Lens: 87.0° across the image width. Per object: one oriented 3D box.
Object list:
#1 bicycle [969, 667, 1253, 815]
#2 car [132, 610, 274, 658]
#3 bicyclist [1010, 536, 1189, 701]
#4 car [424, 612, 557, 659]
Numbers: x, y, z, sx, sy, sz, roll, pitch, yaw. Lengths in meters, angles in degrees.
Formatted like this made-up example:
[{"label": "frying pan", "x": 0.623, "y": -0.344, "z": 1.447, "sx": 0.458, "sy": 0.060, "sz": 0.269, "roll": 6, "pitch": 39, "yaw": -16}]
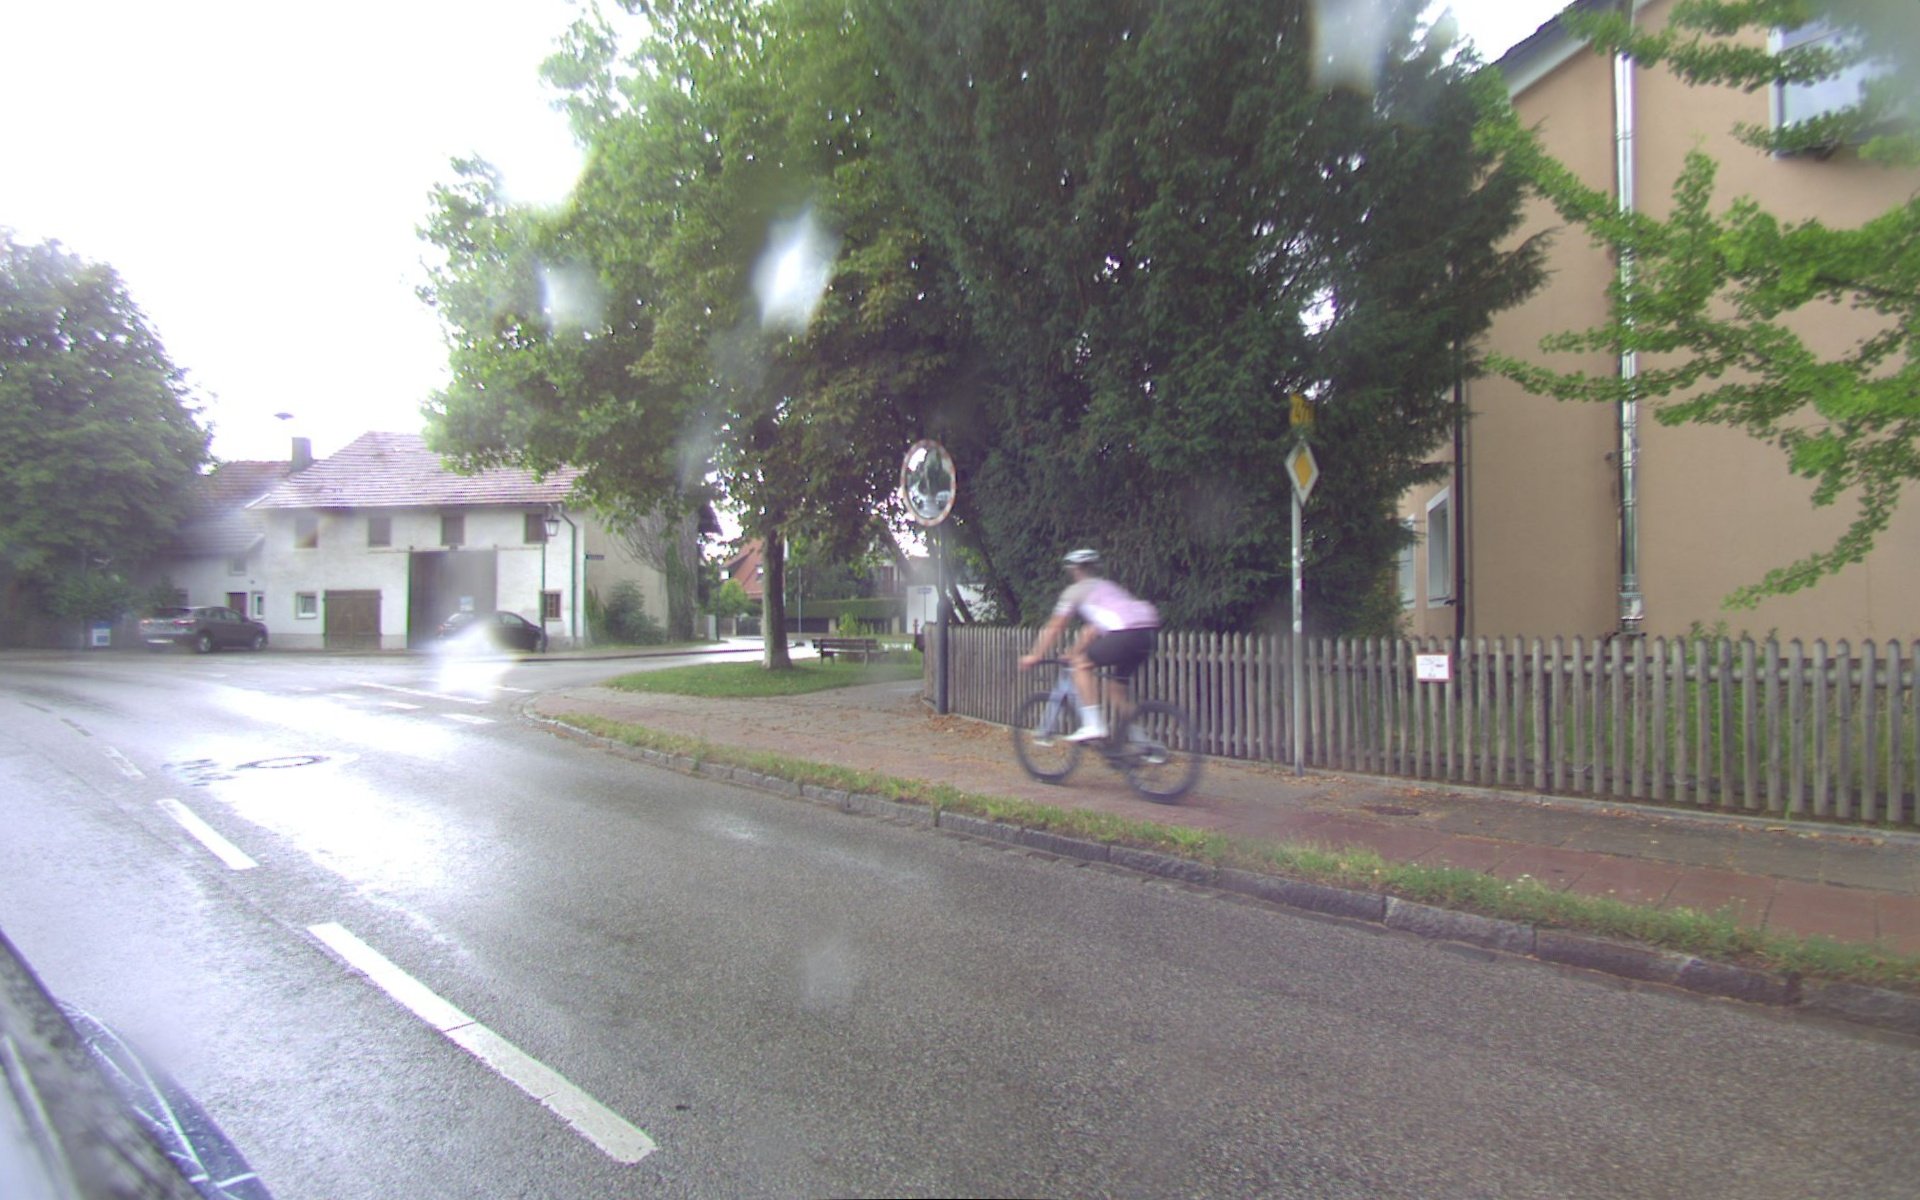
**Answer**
[{"label": "bicycle", "x": 0.958, "y": 0.897, "z": 6.883, "sx": 1.976, "sy": 0.805, "sz": 0.451, "roll": -1, "pitch": -1, "yaw": 41}, {"label": "car", "x": -25.869, "y": 1.194, "z": 34.782, "sx": 1.791, "sy": 1.560, "sz": 4.283, "roll": 0, "pitch": -2, "yaw": -2}, {"label": "bicyclist", "x": 0.937, "y": 0.124, "z": 6.886, "sx": 1.060, "sy": 1.029, "sz": 0.581, "roll": -1, "pitch": -1, "yaw": 41}, {"label": "car", "x": -15.309, "y": 1.112, "z": 33.270, "sx": 1.802, "sy": 1.447, "sz": 4.264, "roll": 0, "pitch": -1, "yaw": 12}]
